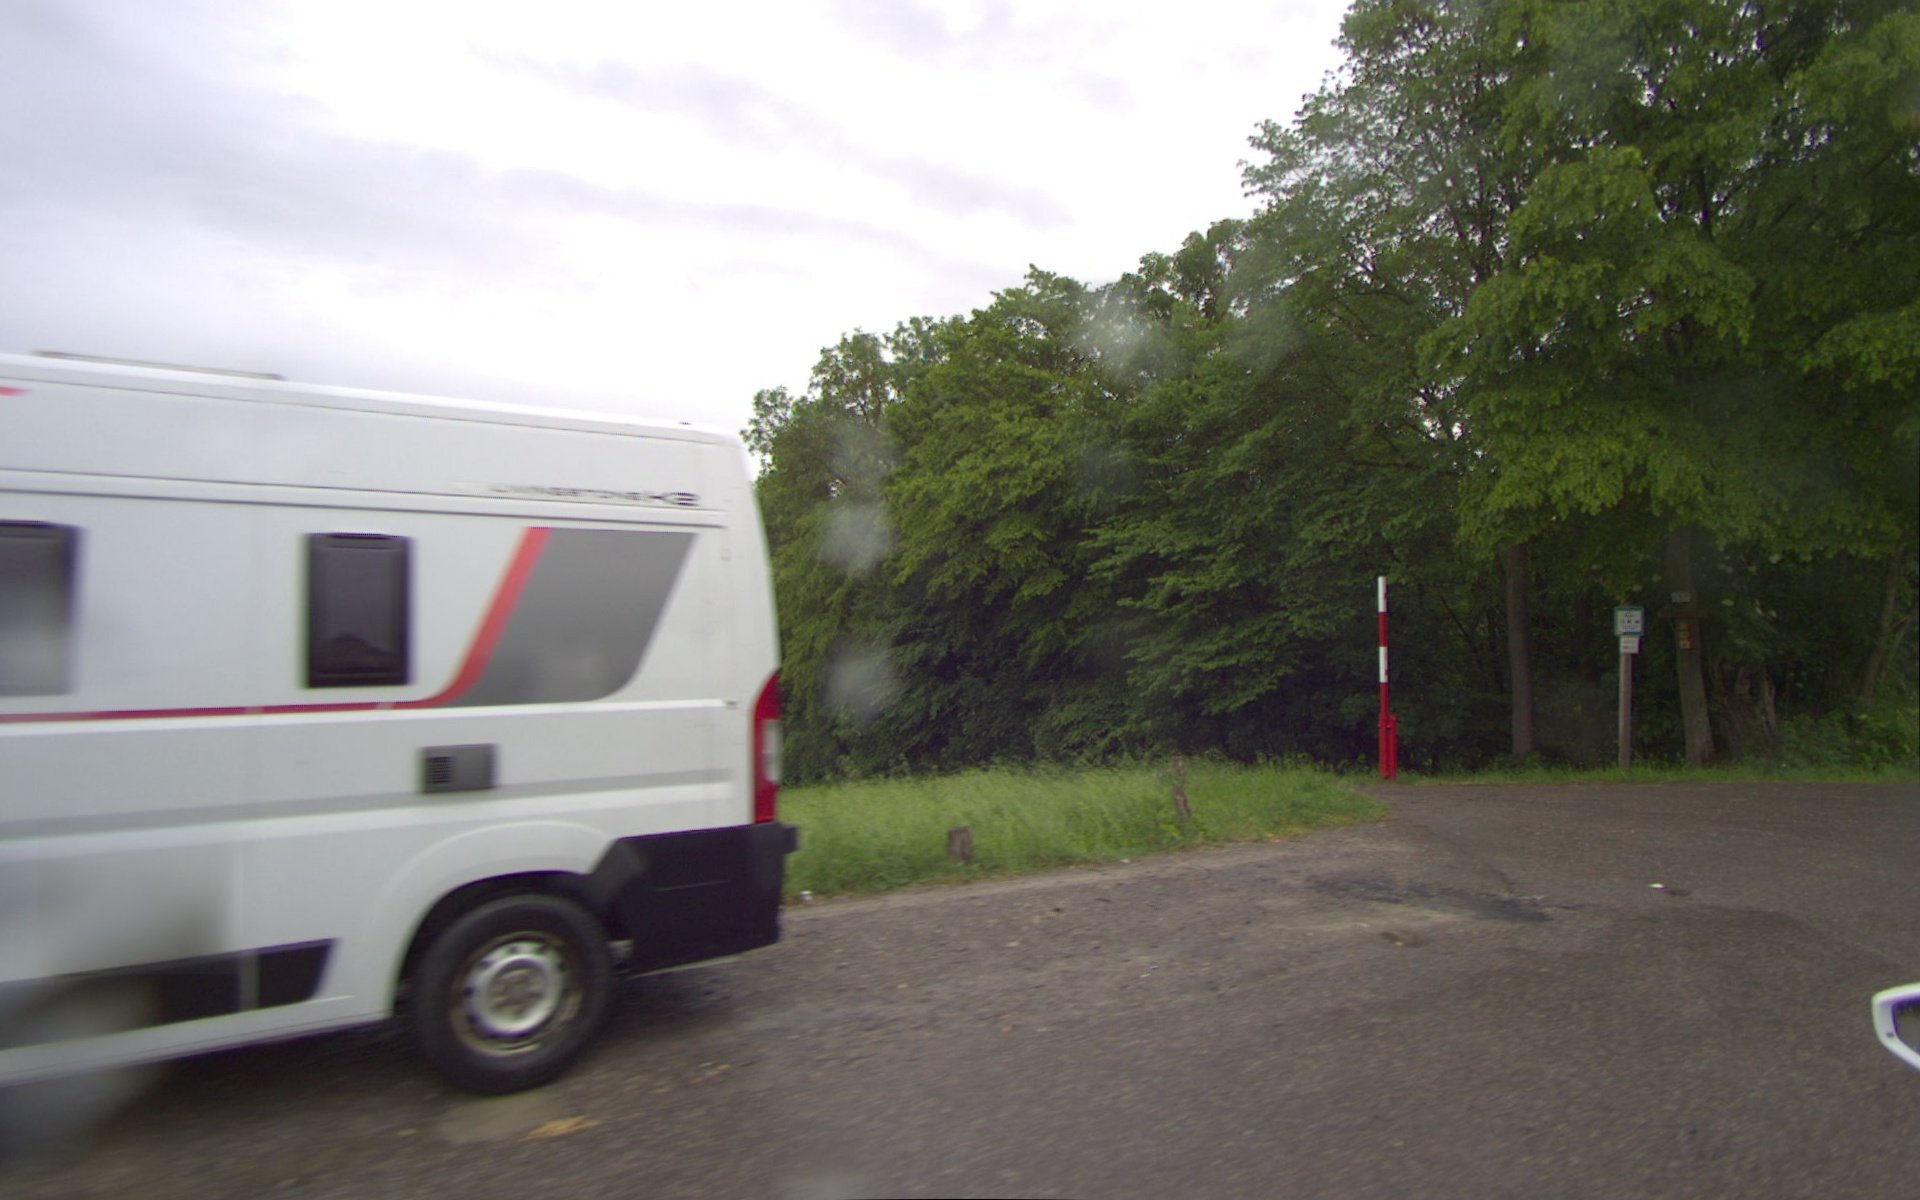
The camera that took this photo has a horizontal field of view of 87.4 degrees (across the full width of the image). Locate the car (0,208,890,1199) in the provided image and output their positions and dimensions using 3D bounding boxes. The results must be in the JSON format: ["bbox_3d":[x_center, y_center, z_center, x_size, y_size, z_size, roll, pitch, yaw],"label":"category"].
[{"bbox_3d":[-3.459,0.355,3.556,5.979,2.732,2.262,-1,-4,-31],"label":"car"}]
